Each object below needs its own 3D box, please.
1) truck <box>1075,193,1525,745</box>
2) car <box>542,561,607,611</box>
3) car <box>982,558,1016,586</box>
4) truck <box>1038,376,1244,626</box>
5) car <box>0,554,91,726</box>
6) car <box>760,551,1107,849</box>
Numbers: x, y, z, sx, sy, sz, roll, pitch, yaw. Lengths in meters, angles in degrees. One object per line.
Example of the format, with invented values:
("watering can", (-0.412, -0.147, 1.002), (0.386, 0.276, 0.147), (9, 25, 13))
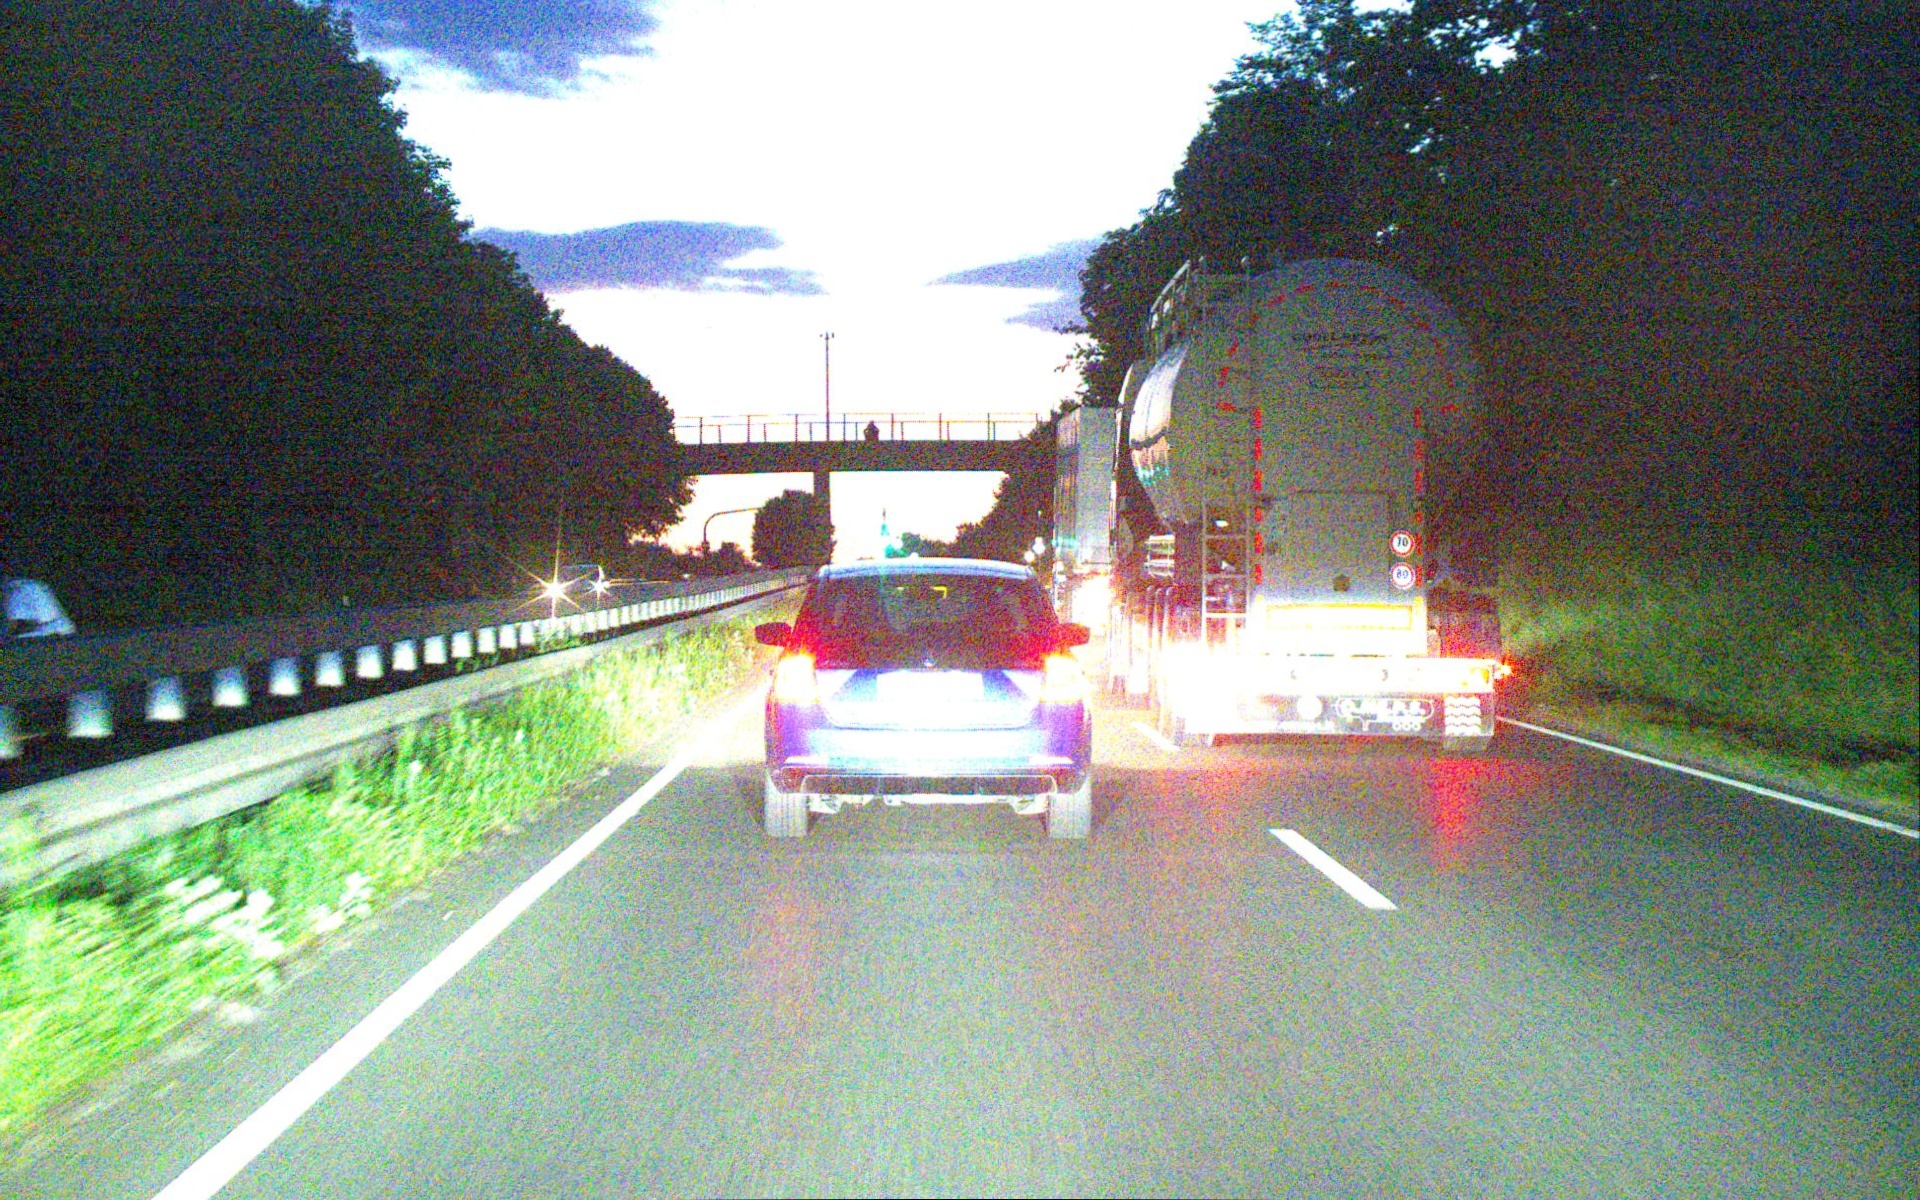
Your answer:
("truck", (2.762, -1.028, 32.268), (2.687, 4.092, 13.142), (1, 0, -1))
("car", (-11.907, -0.454, 106.357), (1.617, 1.502, 3.869), (1, 0, -1))
("car", (2.053, -1.460, 182.013), (1.695, 1.447, 3.914), (1, 0, -1))
("truck", (3.127, -1.679, 63.072), (2.883, 4.092, 12.684), (1, 0, -1))
("car", (-9.746, 0.349, 33.232), (1.682, 1.582, 4.167), (1, 1, -1))
("car", (-0.159, 0.477, 18.869), (1.695, 1.447, 3.914), (1, 0, -1))
